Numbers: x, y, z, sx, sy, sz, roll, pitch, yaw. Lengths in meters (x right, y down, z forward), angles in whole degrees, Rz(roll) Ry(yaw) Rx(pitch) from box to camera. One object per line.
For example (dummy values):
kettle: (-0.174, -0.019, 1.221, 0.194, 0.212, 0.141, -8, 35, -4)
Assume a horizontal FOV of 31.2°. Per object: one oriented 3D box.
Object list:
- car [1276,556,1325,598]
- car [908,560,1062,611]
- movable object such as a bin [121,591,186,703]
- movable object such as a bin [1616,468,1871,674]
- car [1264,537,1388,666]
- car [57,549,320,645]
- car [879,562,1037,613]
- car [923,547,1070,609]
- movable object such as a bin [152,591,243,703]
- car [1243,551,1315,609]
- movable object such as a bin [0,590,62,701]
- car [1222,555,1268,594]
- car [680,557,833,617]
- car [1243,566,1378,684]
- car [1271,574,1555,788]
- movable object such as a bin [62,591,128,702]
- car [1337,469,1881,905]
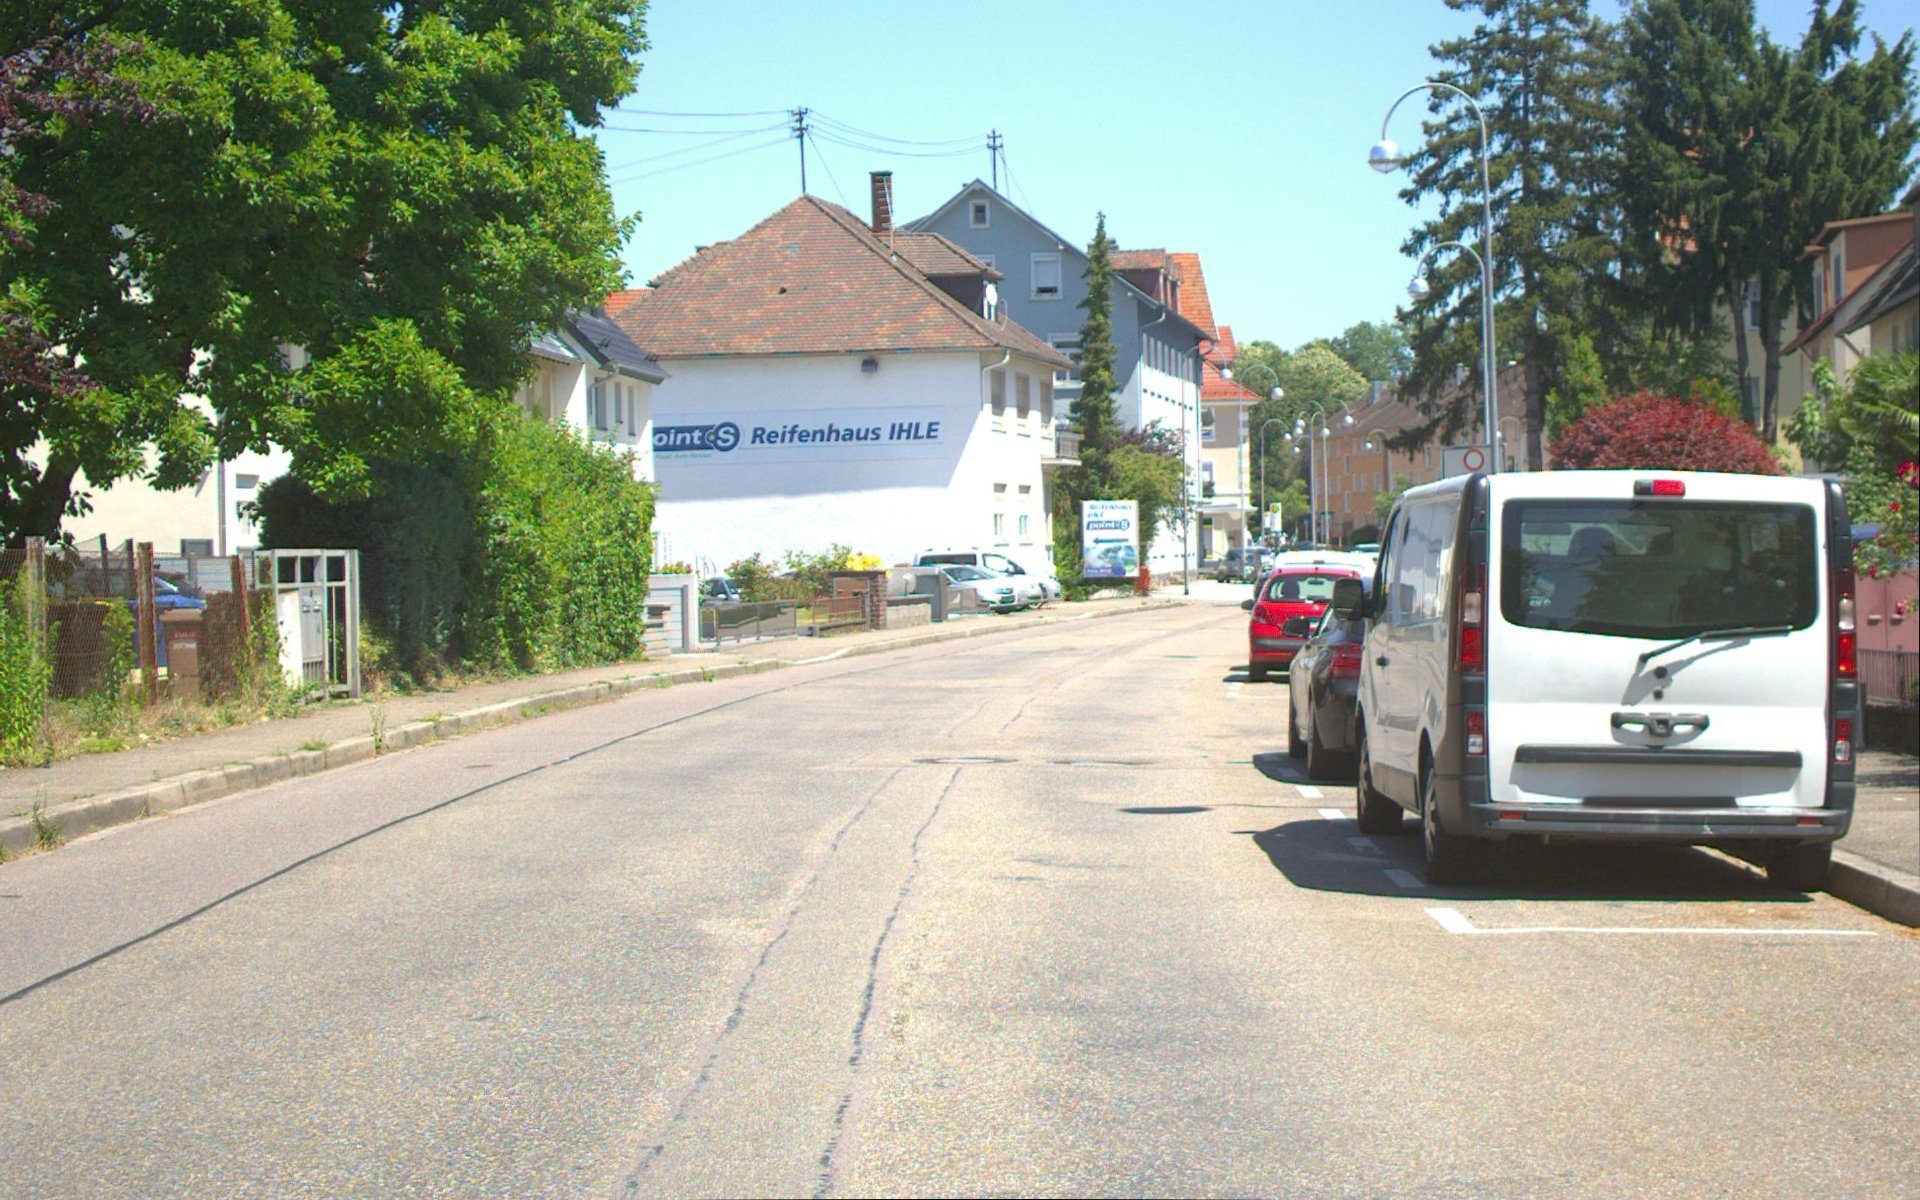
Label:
car: (13.875, -0.962, 140.000, 1.758, 1.650, 3.999, 0, 1, 8)
car: (0.712, -0.427, 97.311, 4.130, 1.389, 1.828, 0, 1, 8)
movable object such as a bin: (-7.383, 0.425, 31.492, 0.467, 1.006, 0.506, 0, 1, 2)
movable object such as a bin: (10.665, -0.398, 46.932, 3.145, 2.737, 1.707, 0, 0, 4)
car: (5.366, 0.028, 50.054, 1.664, 1.749, 3.999, 2, 0, 7)
car: (-12.760, -0.051, 57.015, 3.986, 1.505, 1.800, 1, 0, -3)
car: (-0.077, -0.354, 94.517, 4.139, 1.339, 1.906, 0, 1, 43)
car: (1.079, -0.649, 99.868, 4.129, 1.768, 1.828, 0, 1, 5)
movable object such as a bin: (-6.860, 0.420, 30.933, 0.708, 0.993, 0.474, 0, 0, 0)
car: (8.653, -0.558, 92.946, 1.795, 1.505, 3.999, 1, 1, 7)
movable object such as a bin: (-8.552, 0.414, 31.582, 0.467, 1.006, 0.506, 0, 1, 2)
car: (12.373, -1.117, 149.200, 1.758, 1.650, 3.999, 0, 1, 8)
car: (-5.319, -0.355, 89.566, 1.795, 1.505, 3.997, -1, 2, -45)
car: (4.586, 0.291, 45.054, 1.664, 1.450, 3.999, 1, 1, 6)
car: (3.170, 0.520, 24.687, 1.656, 1.393, 4.000, 0, 1, 2)
movable object such as a bin: (-7.931, 0.420, 31.533, 0.467, 1.006, 0.506, 0, 1, 2)
car: (3.113, 0.356, 17.477, 1.903, 1.918, 4.719, 0, 1, 0)
